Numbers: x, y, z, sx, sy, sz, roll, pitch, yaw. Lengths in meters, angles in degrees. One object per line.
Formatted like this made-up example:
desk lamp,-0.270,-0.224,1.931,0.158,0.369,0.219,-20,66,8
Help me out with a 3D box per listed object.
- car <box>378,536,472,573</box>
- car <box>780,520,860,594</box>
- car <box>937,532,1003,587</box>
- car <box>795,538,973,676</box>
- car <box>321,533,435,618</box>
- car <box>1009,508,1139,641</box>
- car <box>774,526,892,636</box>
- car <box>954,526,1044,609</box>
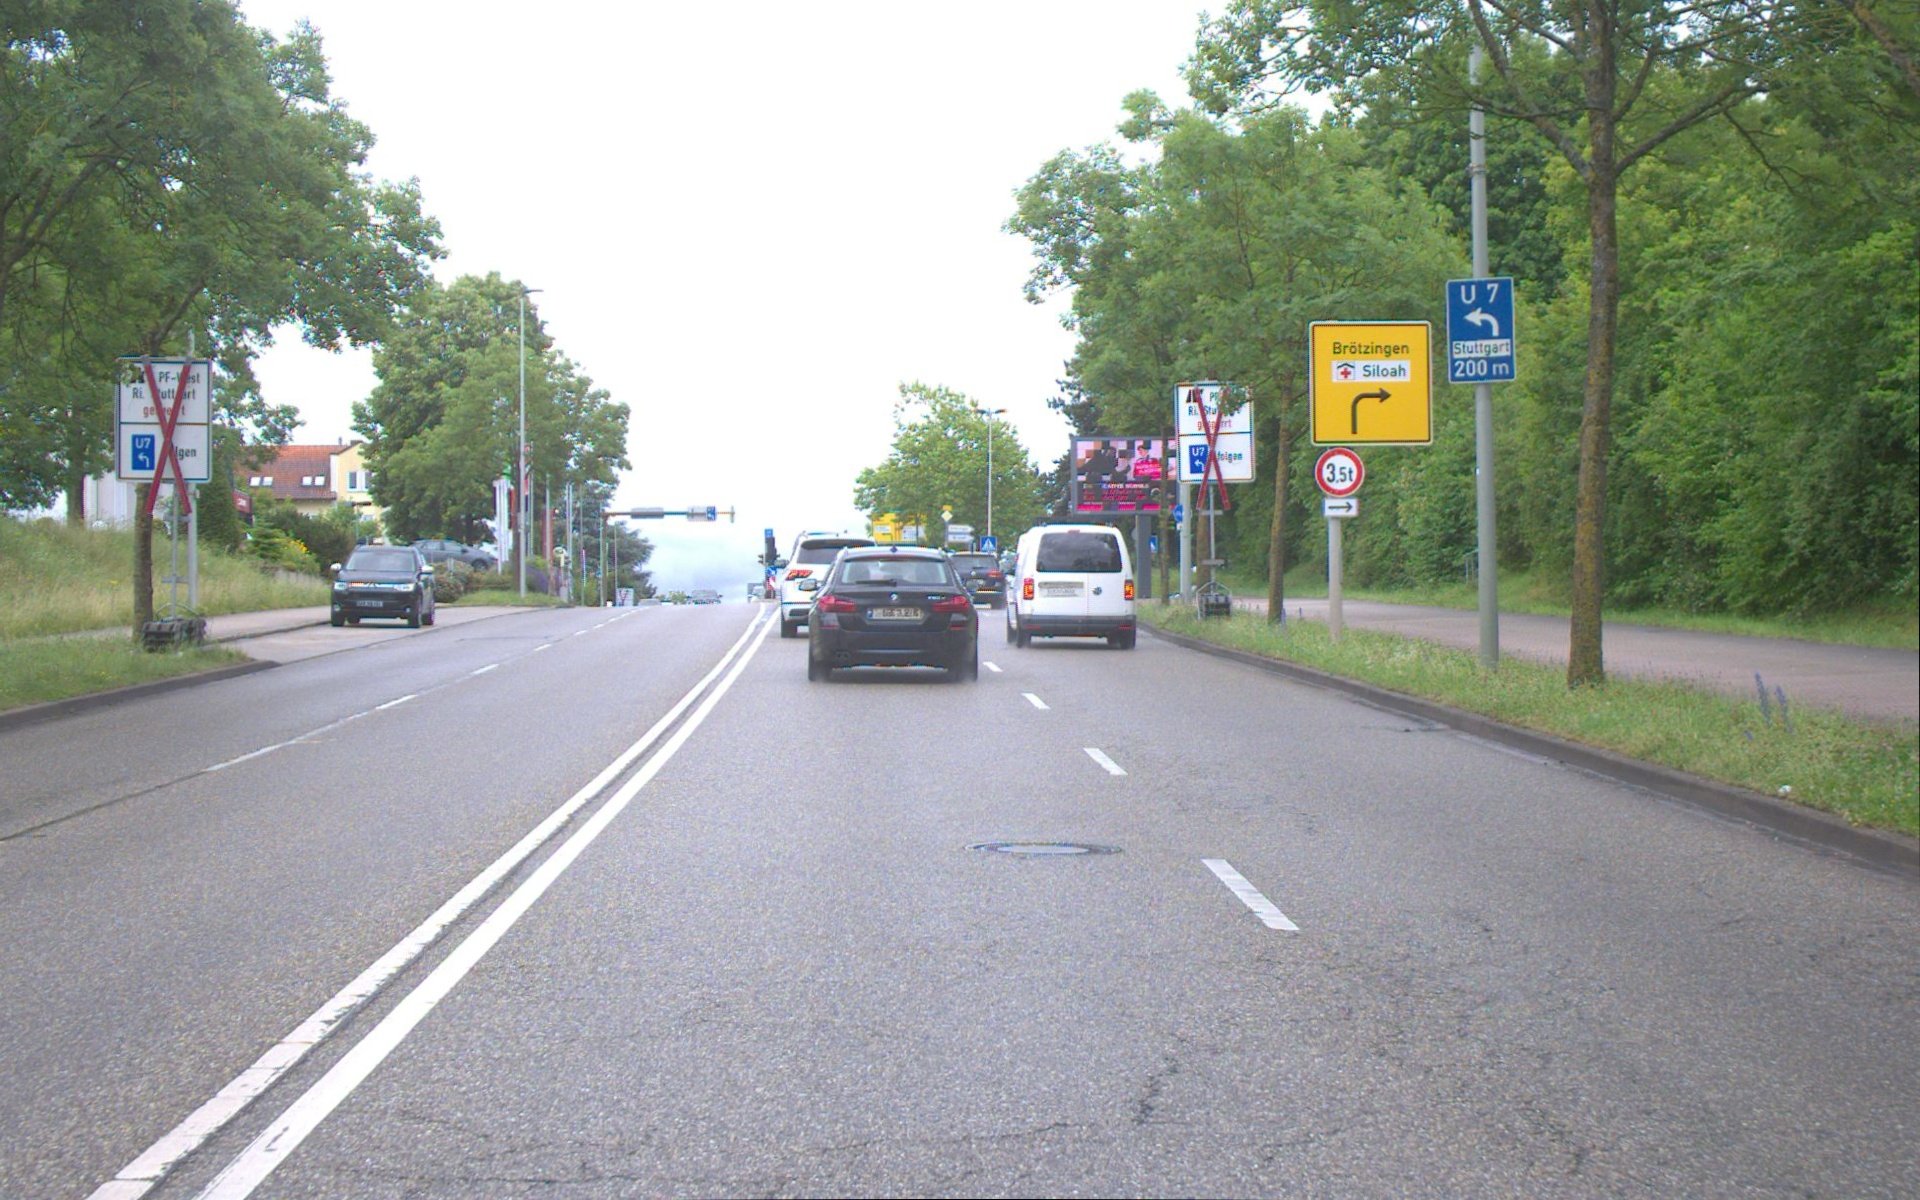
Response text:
car,-22.133,-1.881,142.204,3.825,1.477,1.742,0,0,-9
car,-3.289,-1.031,81.309,1.758,1.702,3.946,0,1,-1
car,0.229,-1.051,88.372,1.600,1.367,3.680,-1,1,-1
car,-0.805,0.043,38.164,1.855,1.414,3.957,1,1,0
car,-11.960,-0.522,70.896,1.726,1.662,4.488,1,1,-2
car,1.662,-0.396,51.174,1.741,1.863,3.946,1,1,-1
car,-2.030,-0.331,55.711,1.728,1.705,3.382,1,1,1
car,0.794,-0.705,72.866,1.814,1.702,3.946,0,1,-1
